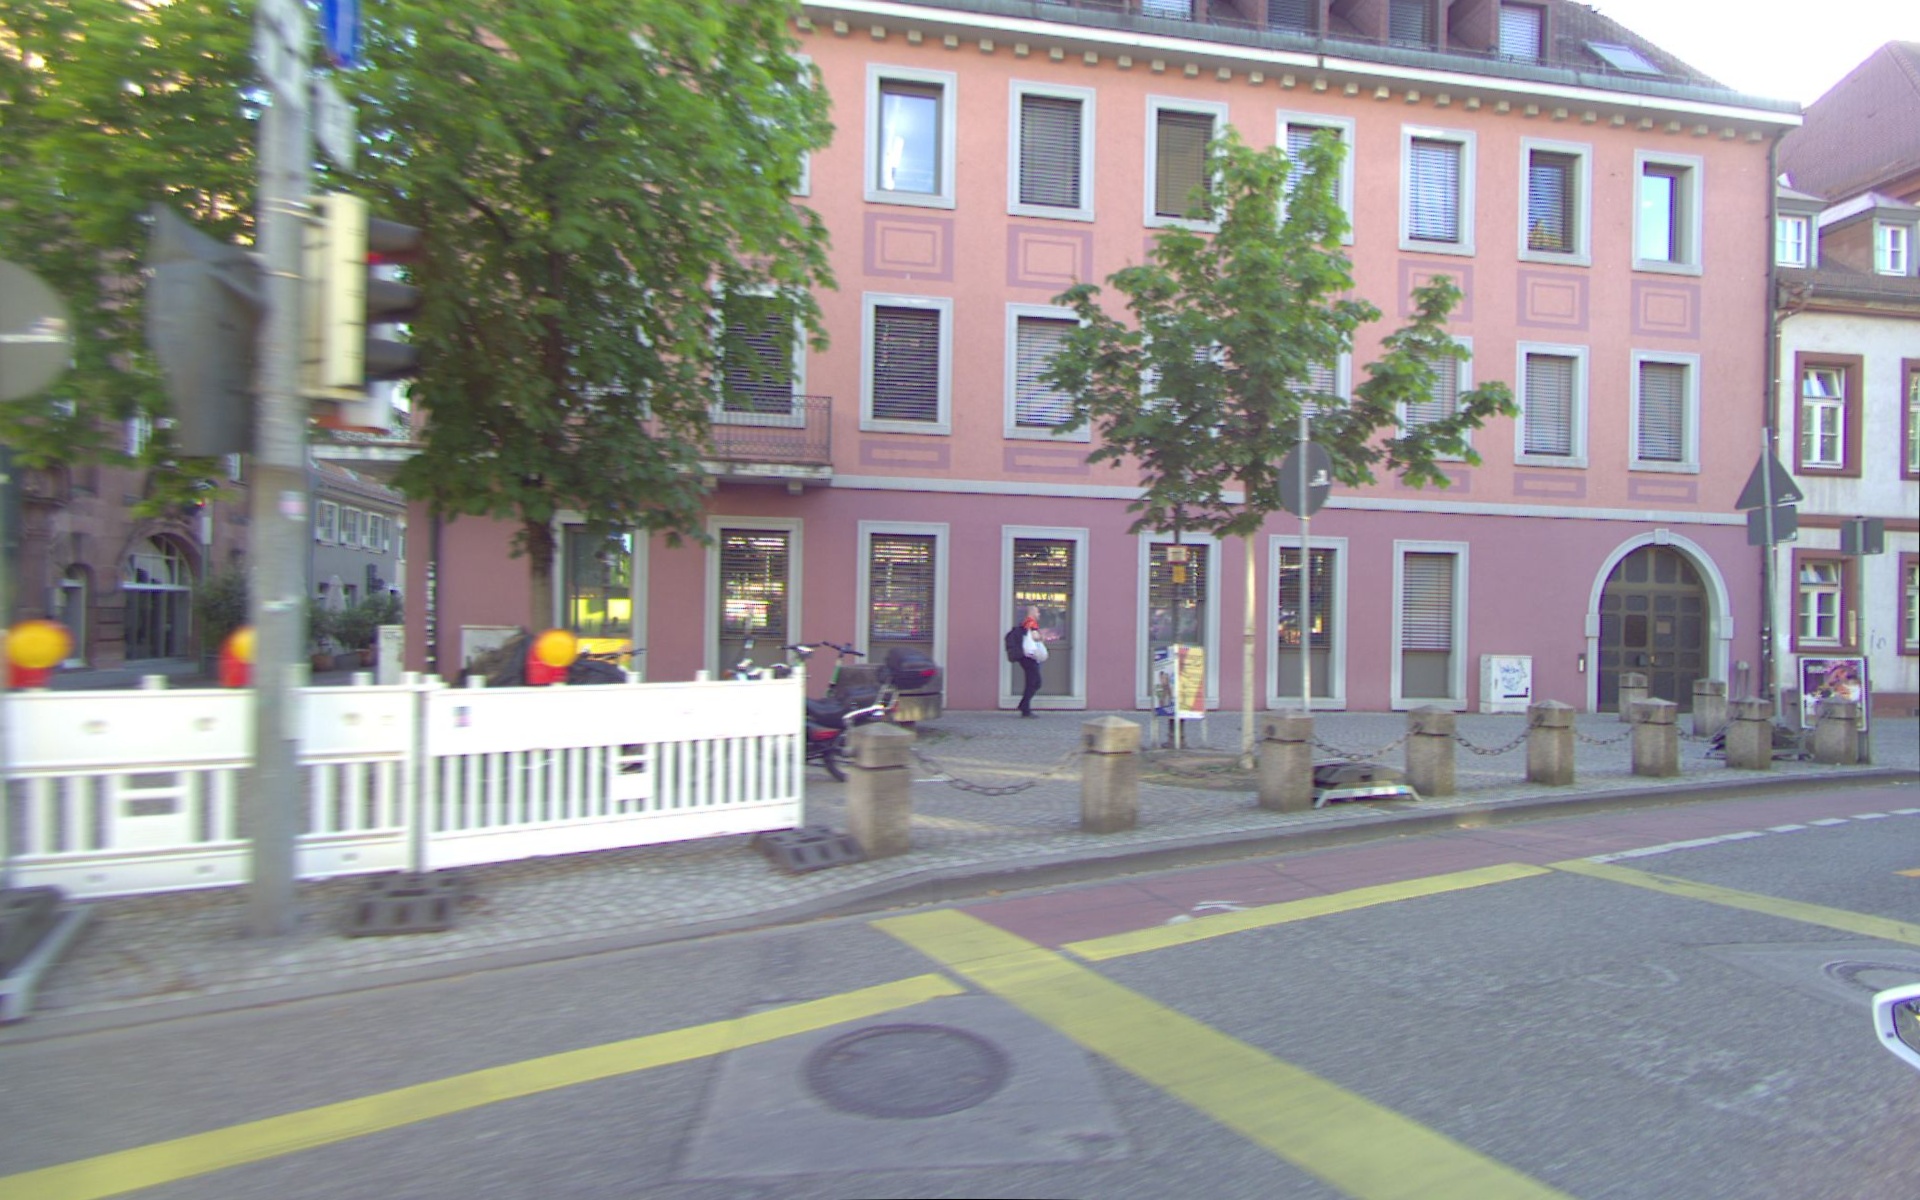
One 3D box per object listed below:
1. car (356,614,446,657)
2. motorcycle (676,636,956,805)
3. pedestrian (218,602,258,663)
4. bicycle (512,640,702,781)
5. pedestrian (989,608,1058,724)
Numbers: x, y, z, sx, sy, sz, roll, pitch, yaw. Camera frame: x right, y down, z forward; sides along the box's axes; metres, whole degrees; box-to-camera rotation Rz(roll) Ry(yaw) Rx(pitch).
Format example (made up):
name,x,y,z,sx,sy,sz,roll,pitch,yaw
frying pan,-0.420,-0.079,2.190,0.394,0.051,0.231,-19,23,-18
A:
name,x,y,z,sx,sy,sz,roll,pitch,yaw
car,-20.512,1.274,37.047,1.802,1.508,3.991,1,-1,-12
motorcycle,-1.255,0.994,8.830,2.303,1.335,0.810,1,-1,-23
pedestrian,-20.579,0.920,28.647,0.762,1.728,0.478,1,-1,-11
bicycle,-3.422,1.012,9.679,1.972,1.222,0.681,-1,-3,35
pedestrian,0.964,0.996,15.440,0.853,1.711,0.792,1,0,-11
